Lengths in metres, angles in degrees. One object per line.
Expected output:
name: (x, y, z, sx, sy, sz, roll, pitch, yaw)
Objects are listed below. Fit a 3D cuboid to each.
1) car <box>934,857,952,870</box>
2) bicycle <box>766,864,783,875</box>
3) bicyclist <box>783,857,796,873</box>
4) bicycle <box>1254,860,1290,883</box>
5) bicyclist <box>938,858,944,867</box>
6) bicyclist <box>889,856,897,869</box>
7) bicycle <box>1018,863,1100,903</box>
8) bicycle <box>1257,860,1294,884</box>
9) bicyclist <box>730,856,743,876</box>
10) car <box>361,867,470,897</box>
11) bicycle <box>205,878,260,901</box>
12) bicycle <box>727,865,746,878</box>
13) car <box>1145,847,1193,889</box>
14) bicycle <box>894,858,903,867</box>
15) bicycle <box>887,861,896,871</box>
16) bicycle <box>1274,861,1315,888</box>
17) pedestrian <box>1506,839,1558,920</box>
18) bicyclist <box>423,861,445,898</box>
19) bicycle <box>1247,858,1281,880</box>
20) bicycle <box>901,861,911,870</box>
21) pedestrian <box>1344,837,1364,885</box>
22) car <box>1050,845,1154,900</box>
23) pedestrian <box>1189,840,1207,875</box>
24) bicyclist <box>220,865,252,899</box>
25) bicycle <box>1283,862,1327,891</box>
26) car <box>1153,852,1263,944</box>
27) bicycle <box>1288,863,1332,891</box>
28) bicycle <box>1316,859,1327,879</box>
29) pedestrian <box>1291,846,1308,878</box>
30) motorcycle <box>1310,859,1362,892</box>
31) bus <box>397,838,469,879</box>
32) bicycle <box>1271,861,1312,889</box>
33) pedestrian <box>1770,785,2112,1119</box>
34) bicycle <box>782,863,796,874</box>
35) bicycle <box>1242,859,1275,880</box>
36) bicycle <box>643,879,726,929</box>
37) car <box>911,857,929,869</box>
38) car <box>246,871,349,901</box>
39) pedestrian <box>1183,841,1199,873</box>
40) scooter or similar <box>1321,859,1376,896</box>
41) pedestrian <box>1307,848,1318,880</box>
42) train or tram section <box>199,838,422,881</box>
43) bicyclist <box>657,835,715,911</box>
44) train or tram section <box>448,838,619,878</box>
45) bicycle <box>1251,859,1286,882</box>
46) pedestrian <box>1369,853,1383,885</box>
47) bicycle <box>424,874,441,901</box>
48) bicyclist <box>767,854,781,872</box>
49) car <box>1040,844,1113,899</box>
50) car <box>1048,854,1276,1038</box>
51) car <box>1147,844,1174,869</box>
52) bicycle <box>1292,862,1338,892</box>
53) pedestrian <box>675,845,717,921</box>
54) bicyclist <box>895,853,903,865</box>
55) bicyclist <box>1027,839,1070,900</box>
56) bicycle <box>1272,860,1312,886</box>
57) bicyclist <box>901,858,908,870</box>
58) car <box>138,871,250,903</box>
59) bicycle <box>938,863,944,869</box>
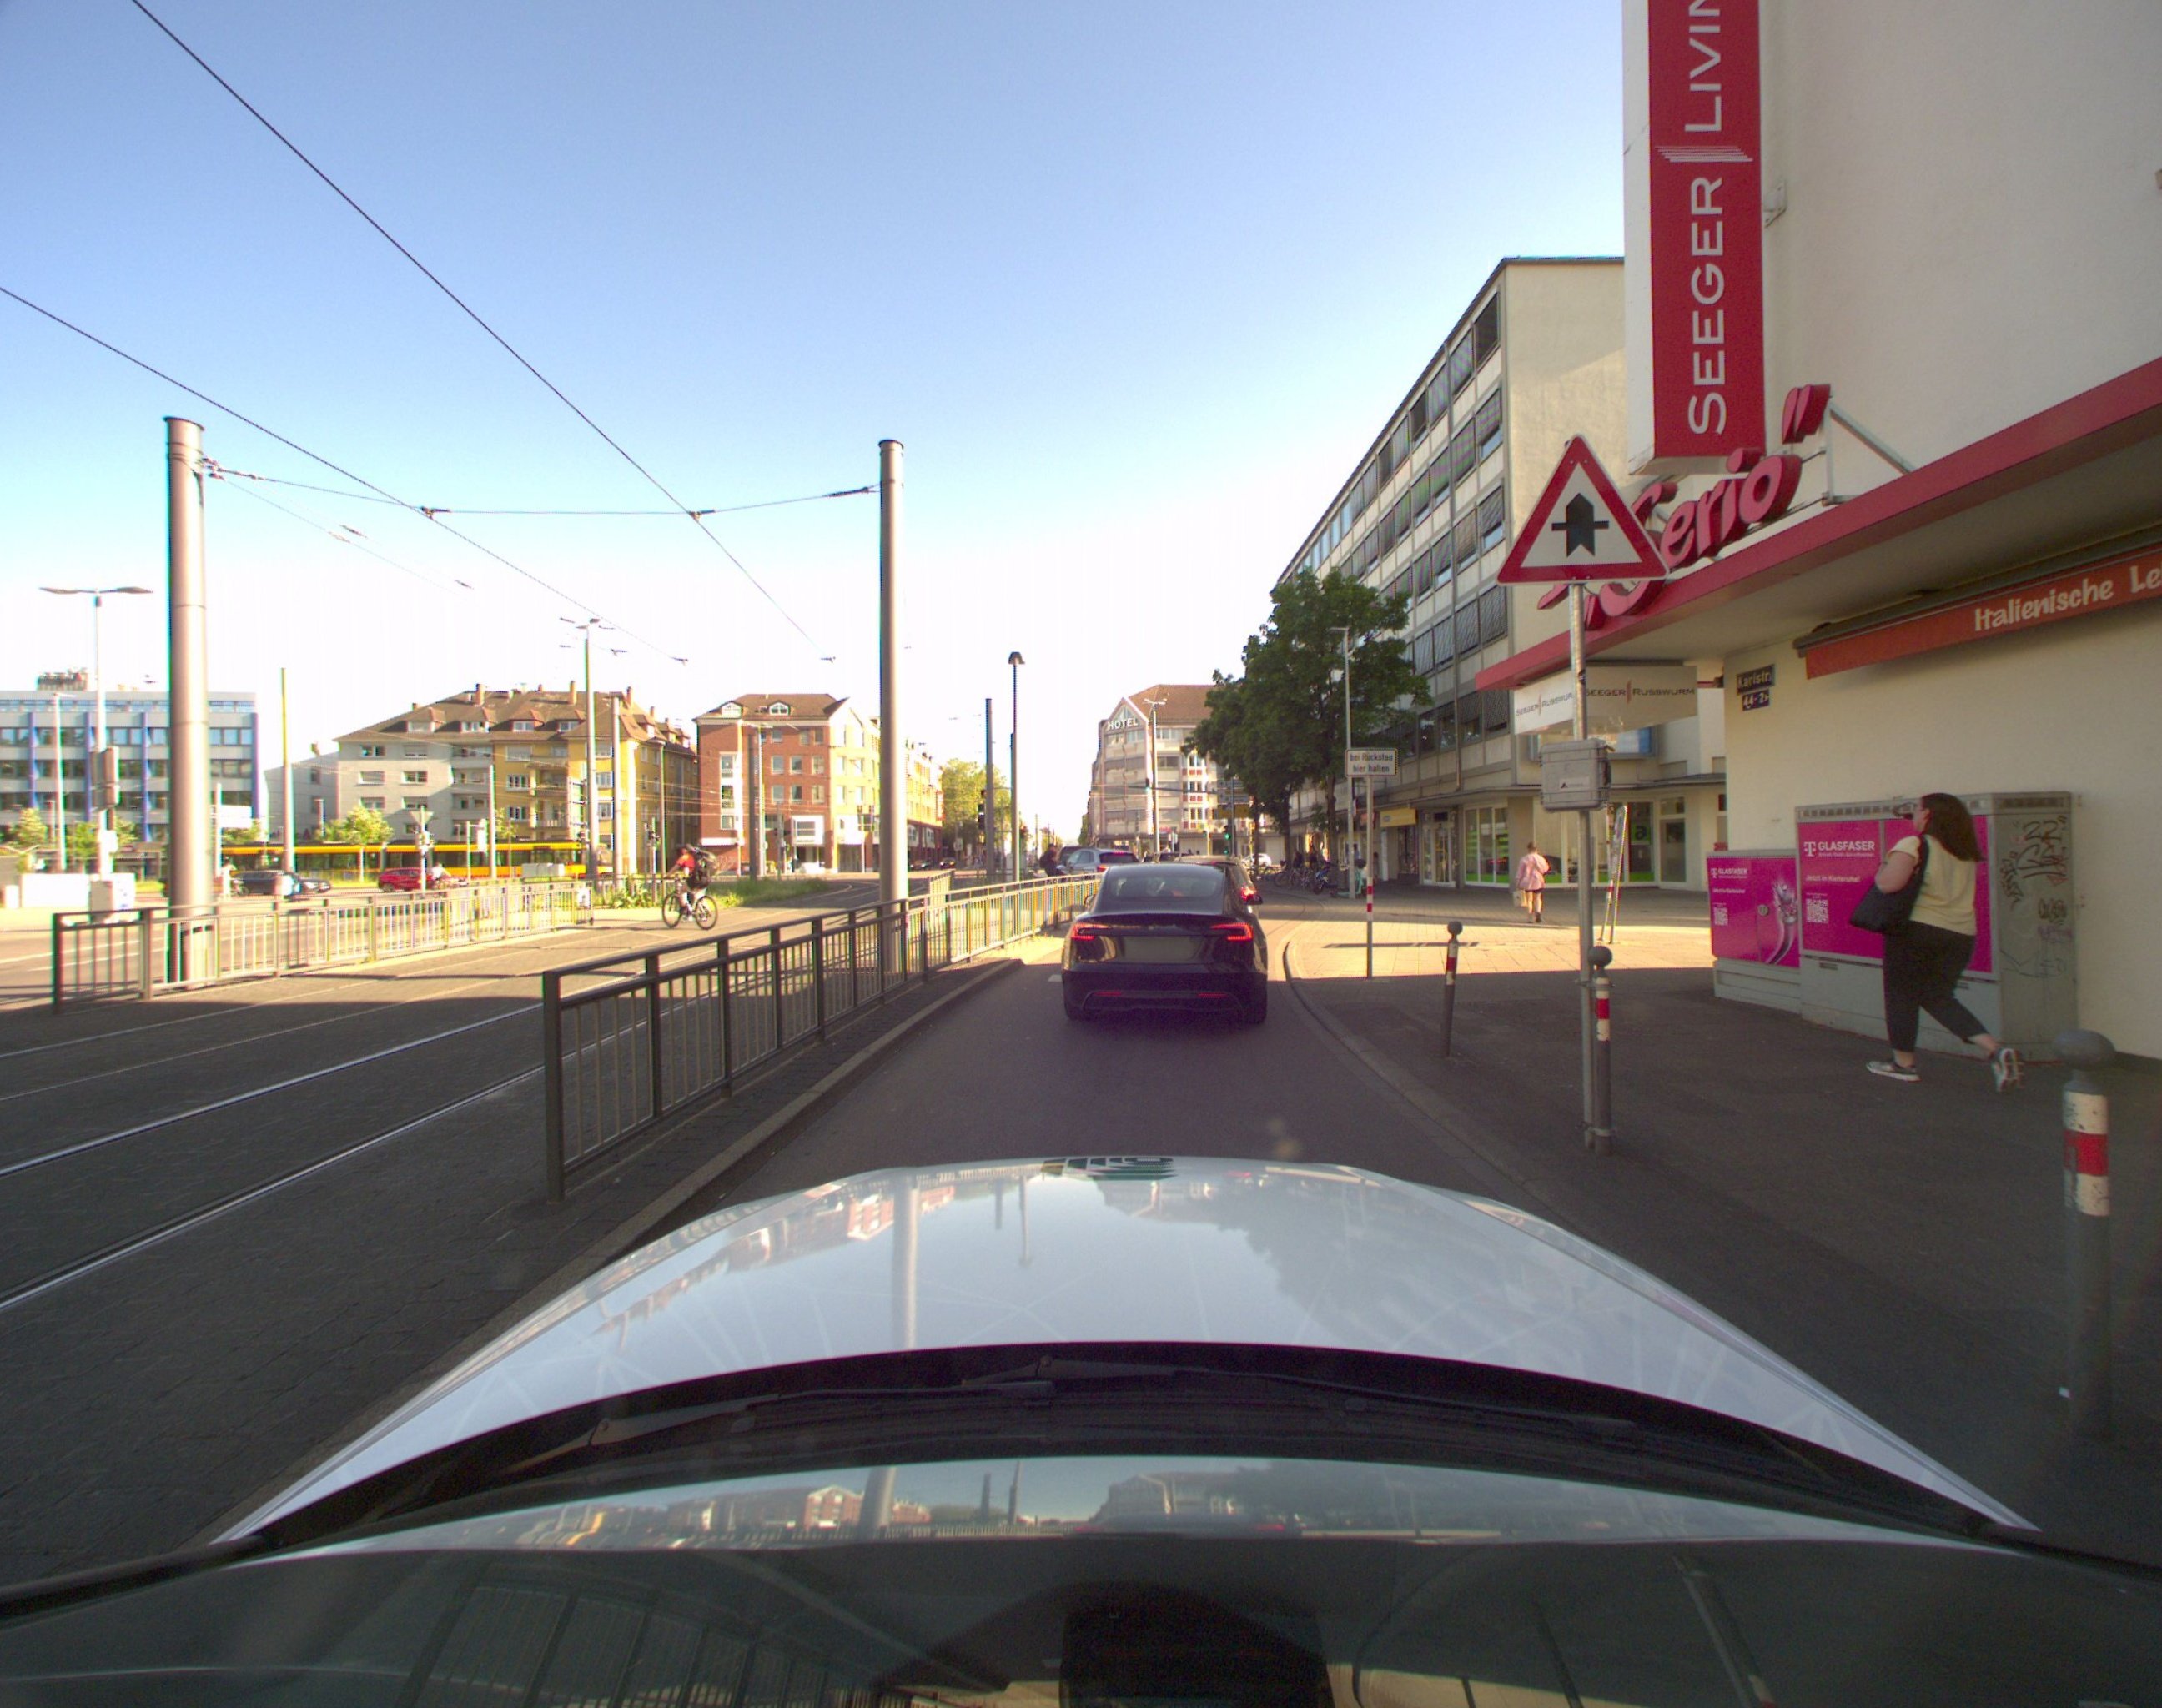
car: (-18.026, 1.241, 106.680, 1.692, 1.731, 3.706, 0, -1, 0)
bicycle: (-25.798, 1.293, 68.567, 0.522, 0.972, 2.247, 0, -1, 2)
bicyclist: (-26.852, 1.003, 74.947, 0.699, 1.471, 0.975, -1, 0, 9)
bicycle: (9.202, 0.844, 39.240, 1.643, 1.099, 0.350, 0, -1, 3)
bicyclist: (-23.173, 1.378, 134.983, 0.780, 1.563, 0.747, 0, -1, 3)
bicyclist: (-22.761, 1.040, 98.440, 0.781, 1.563, 0.746, 0, -1, 0)
bicycle: (-0.592, 0.793, 22.645, 2.346, 1.053, 0.624, 0, -1, -36)
bicycle: (9.137, 0.839, 38.214, 1.643, 1.099, 0.350, 0, -1, 3)
bicyclist: (-26.054, 0.915, 61.629, 0.631, 1.503, 0.696, 0, -1, 1)
car: (-39.459, 1.650, 48.378, 4.585, 1.700, 1.993, 0, -1, -10)
bicycle: (-47.053, 1.957, 45.184, 2.188, 1.214, 0.544, 0, -1, -11)
bicycle: (-26.043, 1.326, 61.641, 0.445, 0.972, 2.247, 0, -1, 2)
car: (3.889, 0.623, 36.480, 1.594, 1.778, 3.977, 0, -1, -2)
bicycle: (-22.657, 1.061, 101.153, 0.527, 1.089, 2.285, 2, -2, 3)
bicycle: (-22.798, 1.445, 97.879, 0.535, 1.088, 2.224, 0, -1, 0)
bicycle: (8.883, 0.842, 33.884, 1.649, 1.099, 0.349, 0, -1, -9)
pedestrian: (9.504, 0.523, 17.198, 0.881, 1.667, 0.813, -1, -1, 25)
bicyclist: (-31.502, 1.222, 39.653, 0.743, 1.759, 0.763, -1, -1, 44)
bicycle: (9.260, 0.763, 41.301, 1.643, 1.099, 0.350, -1, 0, 3)
bicycle: (-22.370, 1.427, 104.140, 0.527, 1.088, 2.286, 0, 0, 4)
pedestrian: (11.644, 0.303, 34.698, 0.659, 2.014, 0.580, 0, -1, 4)
car: (0.588, 0.573, 26.554, 1.891, 1.662, 4.126, 0, -1, -23)
pedestrian: (6.937, 0.218, 48.272, 0.917, 2.014, 0.973, 0, -1, 1)
bicyclist: (-46.922, 1.543, 45.231, 0.900, 1.808, 0.788, 0, -1, -11)
bicycle: (8.727, 0.862, 31.791, 1.649, 1.099, 0.349, 0, -1, -9)
car: (2.331, 0.701, 15.080, 1.741, 1.454, 4.009, 0, 0, 8)
bicycle: (8.813, 0.878, 31.364, 1.649, 1.061, 0.349, 0, -1, -9)
bicycle: (12.752, 0.793, 43.209, 0.330, 1.034, 1.258, 0, -1, 6)
pedestrian: (11.625, 0.431, 43.302, 0.697, 1.662, 0.777, 0, -1, 1)
motorcycle: (9.141, 0.771, 29.171, 1.701, 1.173, 0.541, 0, -1, 0)
bus: (-51.096, 0.348, 64.315, 3.512, 3.131, 2.765, 0, -1, -7)
bicycle: (8.613, 0.850, 33.322, 1.649, 1.099, 0.349, 0, -1, -9)
pedestrian: (5.003, 0.518, 4.841, 0.911, 1.752, 1.038, -1, 0, 0)
bicycle: (-26.853, 1.355, 74.937, 0.402, 0.981, 1.699, -1, -1, 10)
bicycle: (9.241, 0.793, 42.395, 1.643, 1.099, 0.350, 0, -1, 3)
bicycle: (-8.058, 1.003, 16.554, 1.586, 0.994, 0.405, -1, -1, 12)
car: (-20.407, 1.167, 103.485, 1.706, 1.527, 4.032, 0, -1, -3)
car: (-45.496, 1.834, 47.384, 3.984, 1.672, 1.772, 0, -1, -8)
pedestrian: (6.913, 0.210, 51.305, 0.917, 2.014, 0.973, 0, -1, 1)
scooter or similar: (8.894, 0.767, 27.101, 1.625, 1.215, 0.649, -1, -1, 32)
pedestrian: (12.325, 0.520, 43.413, 0.522, 1.710, 0.405, -1, -1, 15)
train or tram section: (-59.610, 0.403, 63.319, 13.653, 3.131, 2.728, 0, -1, -6)
bicyclist: (-8.017, 0.381, 16.544, 1.033, 1.521, 0.393, -1, -1, 12)
train or tram section: (-43.780, 0.304, 65.495, 11.231, 3.131, 2.795, 0, -1, -10)
bicycle: (9.278, 0.801, 40.253, 1.643, 1.099, 0.350, 0, -1, 3)
pedestrian: (12.404, 0.634, 34.245, 0.388, 1.343, 0.513, 0, -1, 4)
bicycle: (-31.448, 1.611, 39.494, 0.488, 1.222, 1.832, 0, -1, -44)
bicyclist: (-25.800, 0.782, 68.545, 0.895, 1.503, 0.696, 0, -1, 1)
car: (-0.249, 0.666, 32.598, 1.997, 2.014, 3.980, -1, 0, -15)
car: (0.878, 0.750, 8.551, 1.820, 1.455, 4.007, 0, -1, 7)
car: (5.821, 0.210, 60.110, 1.713, 1.751, 3.755, 0, -1, 2)
bicycle: (8.891, 0.862, 30.941, 1.649, 1.099, 0.349, 0, -1, -9)
pedestrian: (-8.764, 0.652, 18.542, 0.589, 1.681, 0.774, 0, -1, -1)
bicyclist: (-22.680, 0.632, 101.382, 0.780, 1.563, 0.747, -1, 0, 3)
bicyclist: (-0.903, 0.431, 22.373, 0.763, 1.628, 0.967, 0, -1, -37)
bicycle: (9.115, 0.832, 35.260, 1.643, 1.099, 0.350, 0, -1, 3)
bicyclist: (-22.438, 1.254, 103.530, 0.780, 1.563, 0.747, -1, 0, 3)
car: (-50.626, 1.872, 46.566, 3.952, 1.685, 1.903, 0, -1, -11)
bicycle: (-23.178, 2.001, 134.880, 0.527, 1.088, 2.227, 0, -1, 4)
